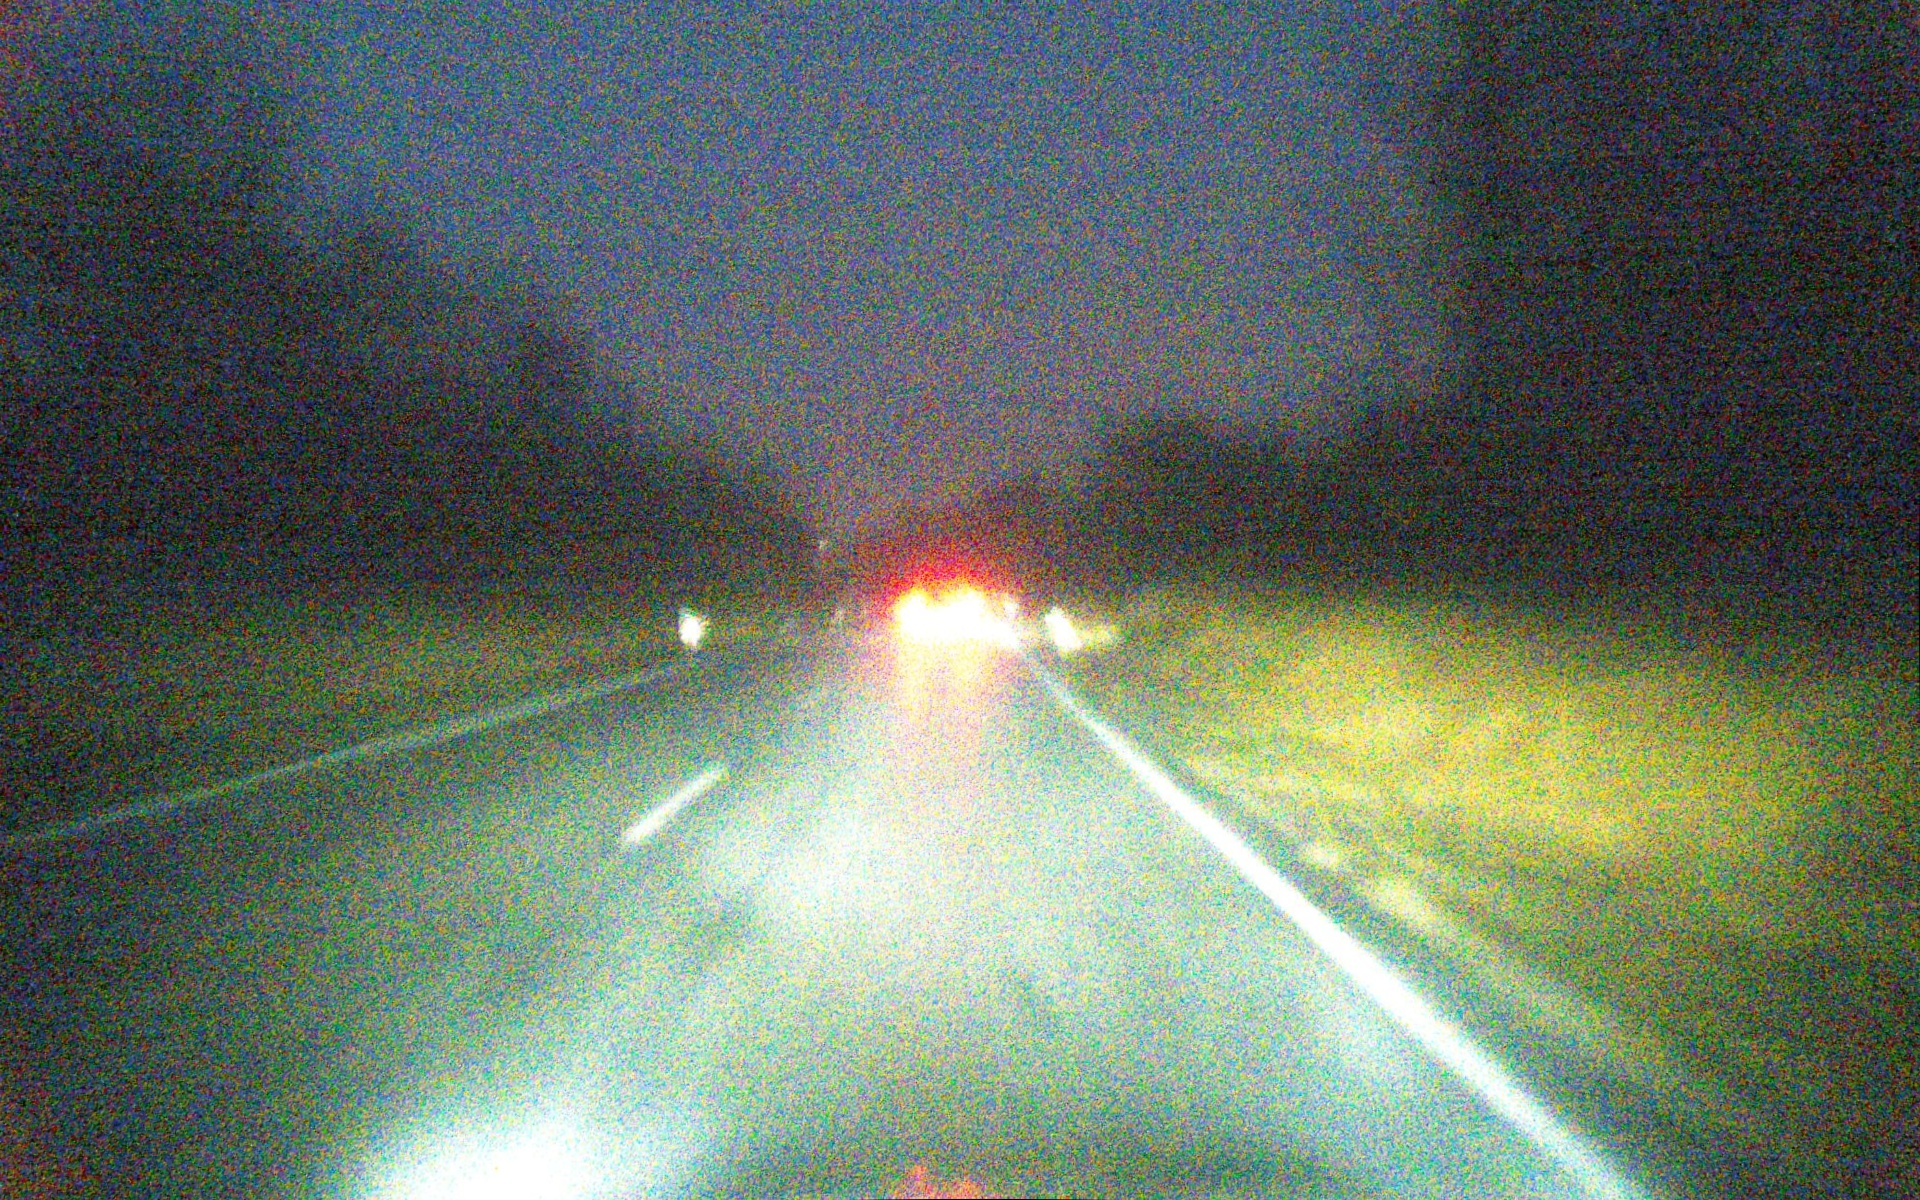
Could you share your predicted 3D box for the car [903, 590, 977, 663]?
[{"bbox_3d":[-0.492,0.646,42.228,1.805,1.771,4.000,0,0,0],"label":"car"}]
